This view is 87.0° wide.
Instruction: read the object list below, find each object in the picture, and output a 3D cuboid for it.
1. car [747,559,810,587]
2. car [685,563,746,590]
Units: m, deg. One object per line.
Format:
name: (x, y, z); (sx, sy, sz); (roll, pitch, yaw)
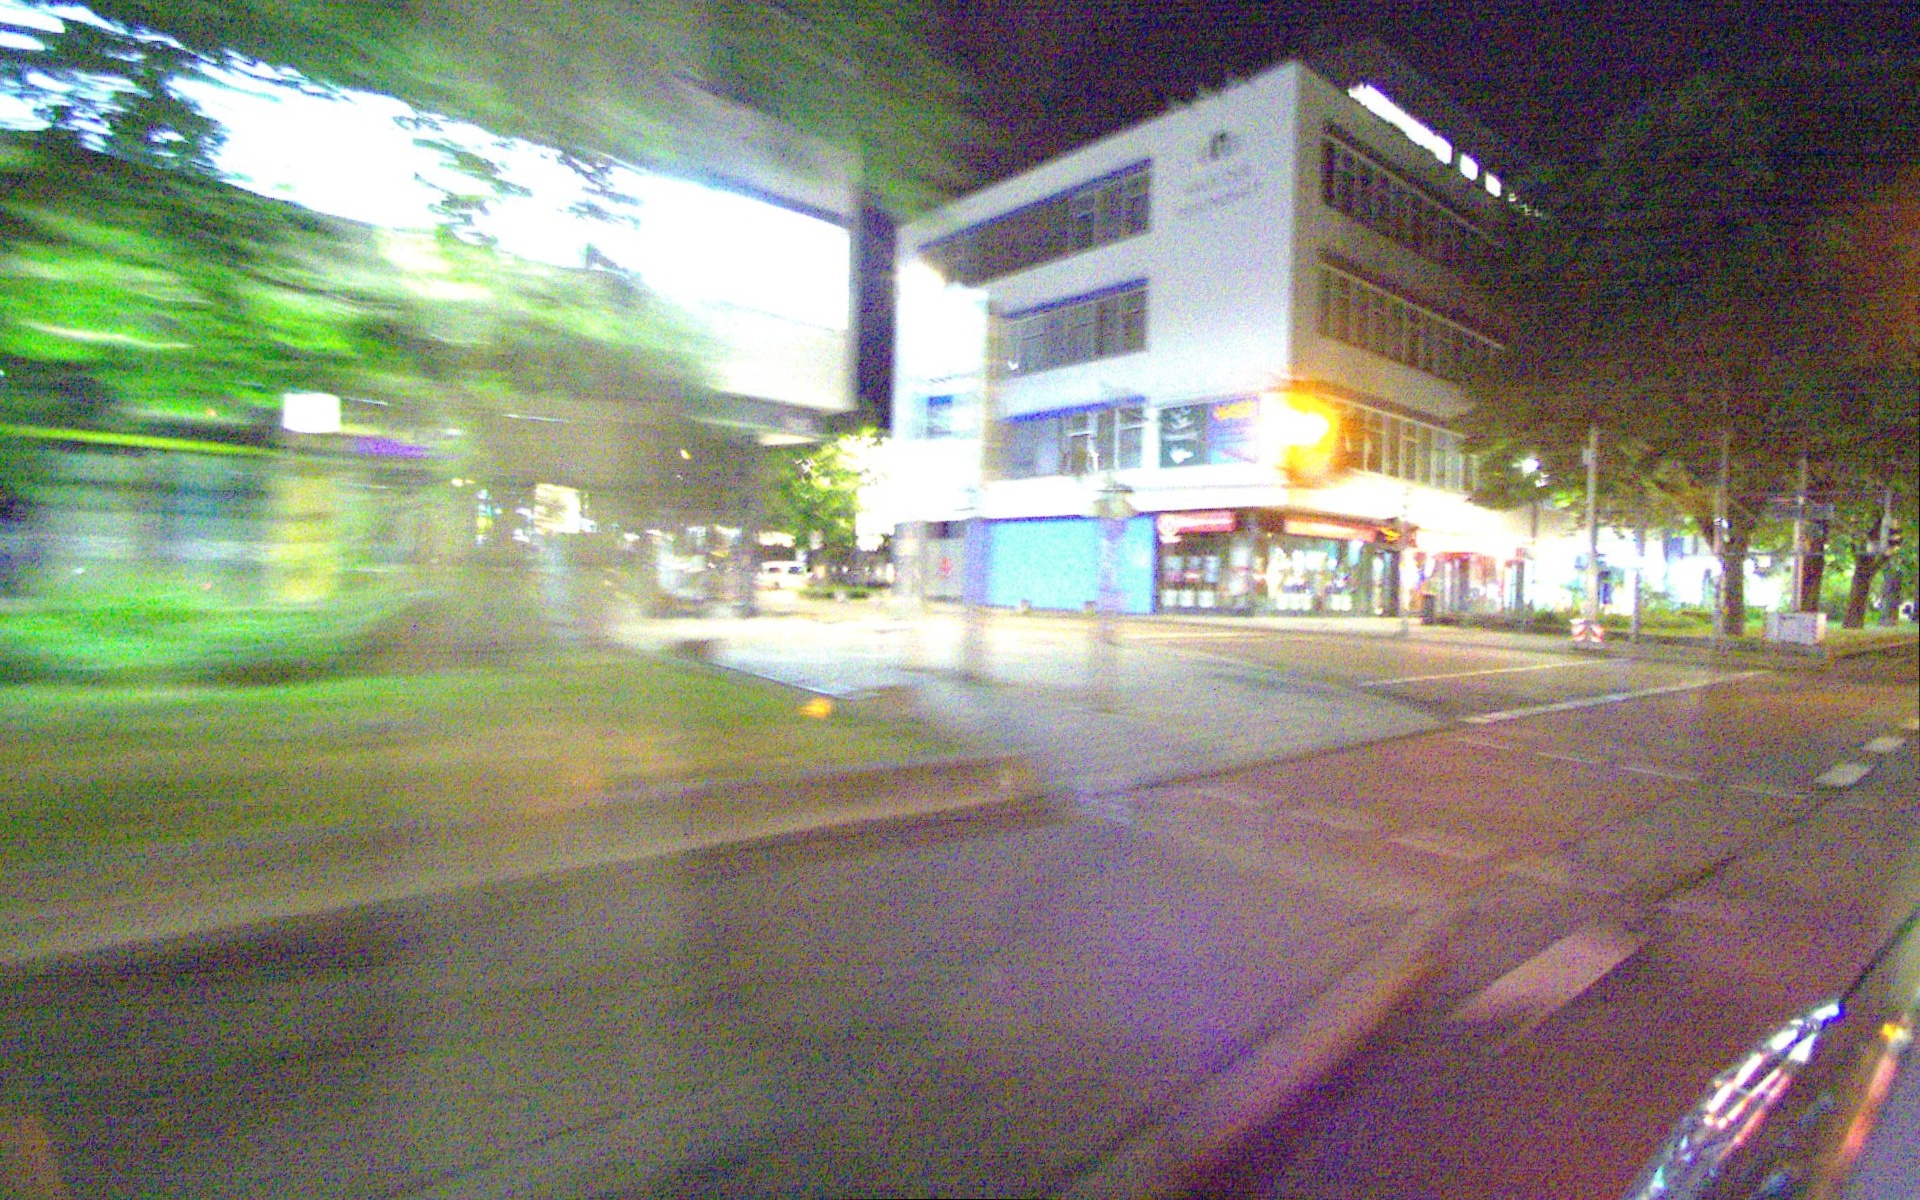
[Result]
car: (-11.598, -1.753, 64.590); (4.156, 1.680, 1.887); (3, 2, 44)
car: (-13.771, -1.326, 56.936); (1.882, 1.401, 3.998); (0, 2, -38)
